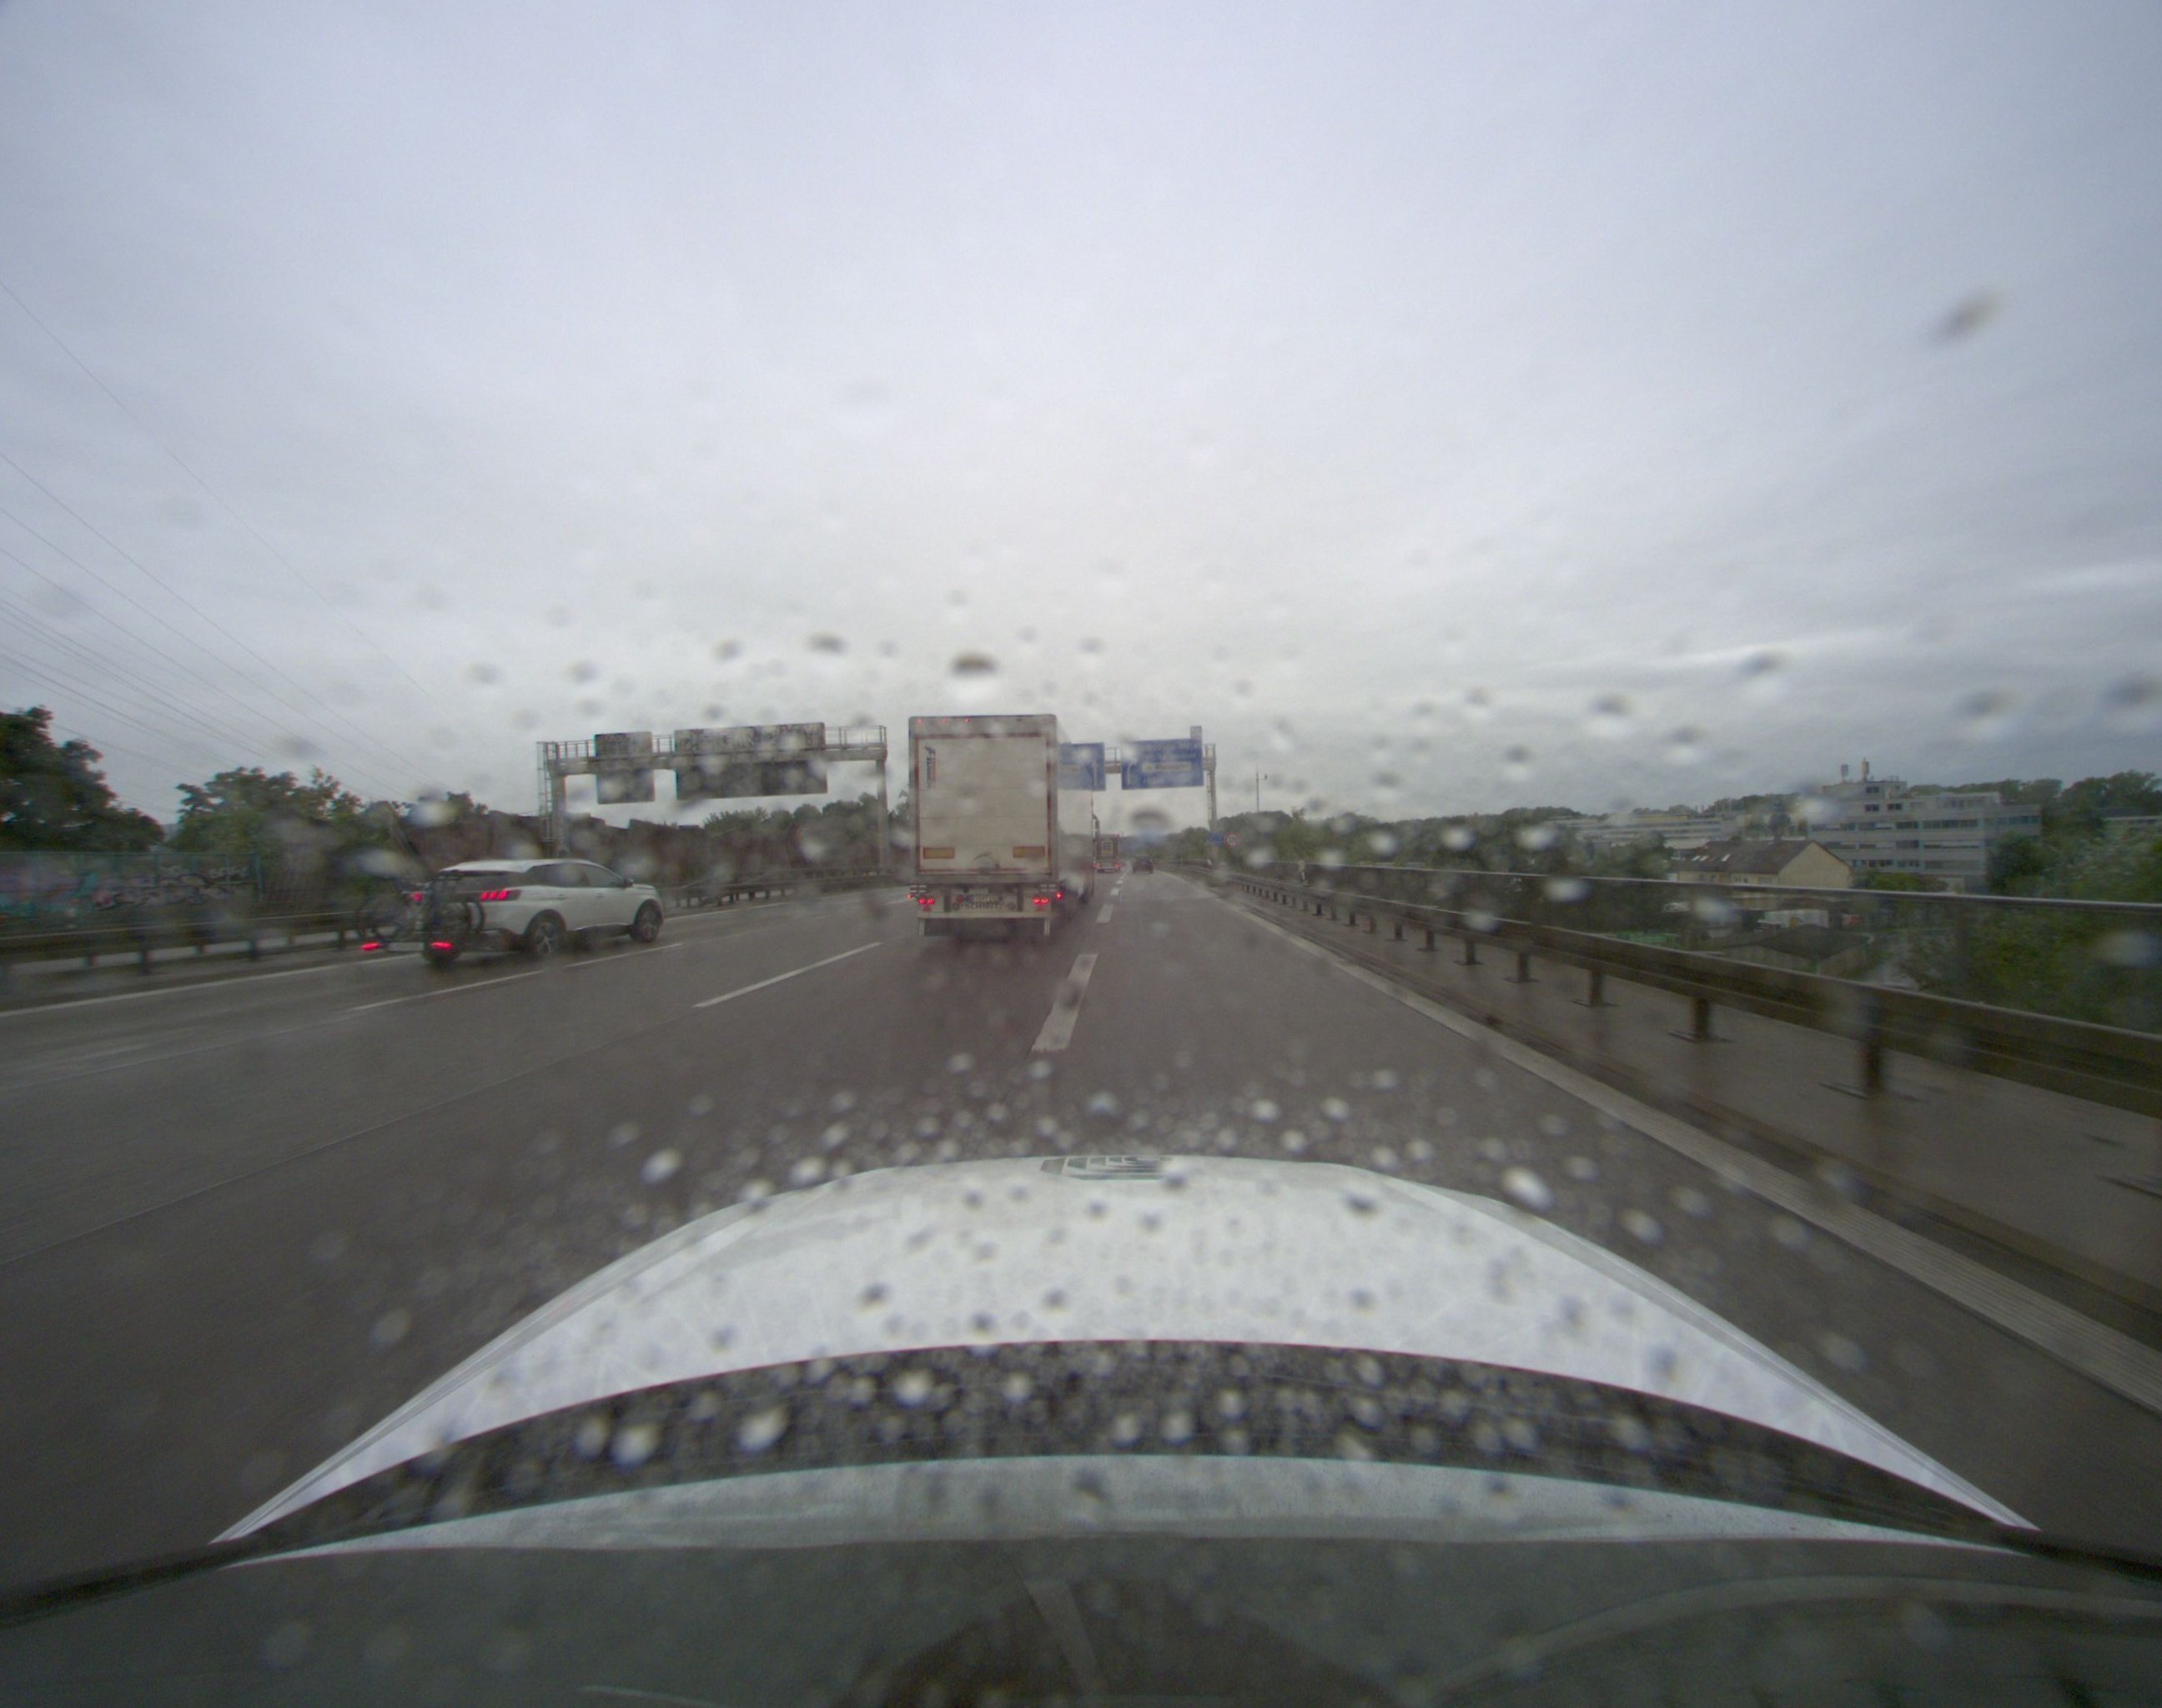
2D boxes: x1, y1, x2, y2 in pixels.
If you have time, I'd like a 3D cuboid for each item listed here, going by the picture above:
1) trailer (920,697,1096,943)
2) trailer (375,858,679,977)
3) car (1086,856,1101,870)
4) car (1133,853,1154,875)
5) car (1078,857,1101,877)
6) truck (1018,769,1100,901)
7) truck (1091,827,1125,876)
[{"bbox_3d":[-1.112,-0.578,21.240,2.332,4.157,14.840,0,0,4],"label":"trailer"},{"bbox_3d":[-8.981,0.908,13.814,1.807,1.624,4.572,-1,0,3],"label":"trailer"},{"bbox_3d":[1.833,1.310,118.710,2.040,1.949,4.004,0,0,3],"label":"car"},{"bbox_3d":[5.740,0.888,74.545,1.888,1.949,4.005,0,0,5],"label":"car"},{"bbox_3d":[0.821,1.177,74.881,1.886,1.723,4.004,0,0,3],"label":"car"},{"bbox_3d":[-0.641,-0.604,28.980,2.332,4.157,6.352,0,0,3],"label":"truck"},{"bbox_3d":[3.106,-0.248,90.340,3.519,5.183,9.901,0,0,3],"label":"truck"}]
